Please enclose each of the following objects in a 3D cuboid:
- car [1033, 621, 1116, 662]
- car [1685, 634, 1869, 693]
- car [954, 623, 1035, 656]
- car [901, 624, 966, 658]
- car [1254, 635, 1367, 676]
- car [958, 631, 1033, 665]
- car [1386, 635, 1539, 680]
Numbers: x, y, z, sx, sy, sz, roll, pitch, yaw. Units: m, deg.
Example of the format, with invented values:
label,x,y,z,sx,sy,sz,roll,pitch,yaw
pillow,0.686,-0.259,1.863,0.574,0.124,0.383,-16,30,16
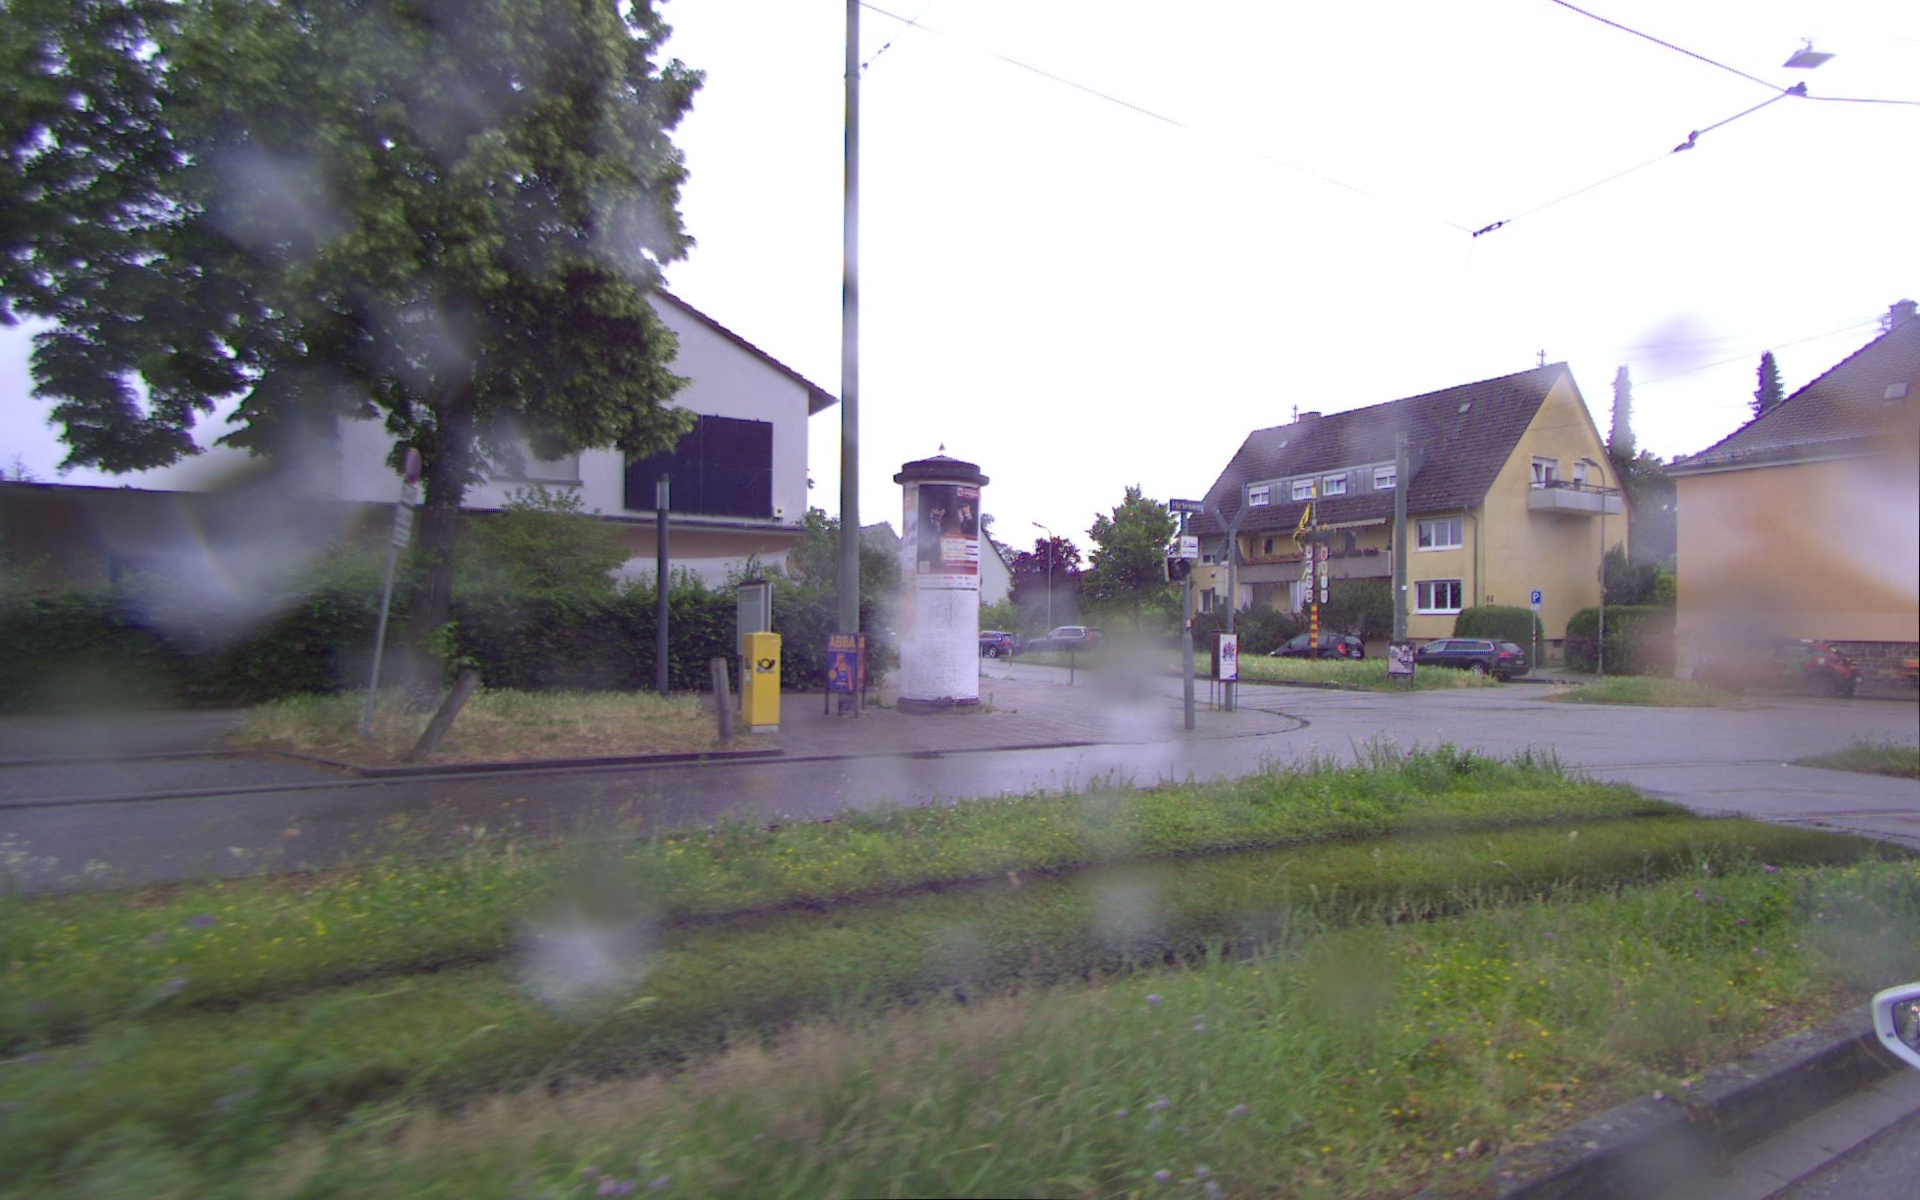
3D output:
label,x,y,z,sx,sy,sz,roll,pitch,yaw
car,5.763,2.075,50.969,1.982,1.818,3.957,1,1,-37
car,22.455,1.690,27.736,1.704,1.357,3.584,1,0,-33
car,1.585,1.844,47.593,1.978,1.495,3.966,1,-2,-31
car,-1.640,2.449,60.400,1.982,1.818,3.957,1,1,-37
car,13.829,2.172,39.825,1.741,1.350,3.963,1,0,-33
car,1.927,2.626,55.819,1.982,1.595,4.081,1,0,-38
car,17.483,1.959,35.181,1.945,1.414,4.466,1,-1,-32
